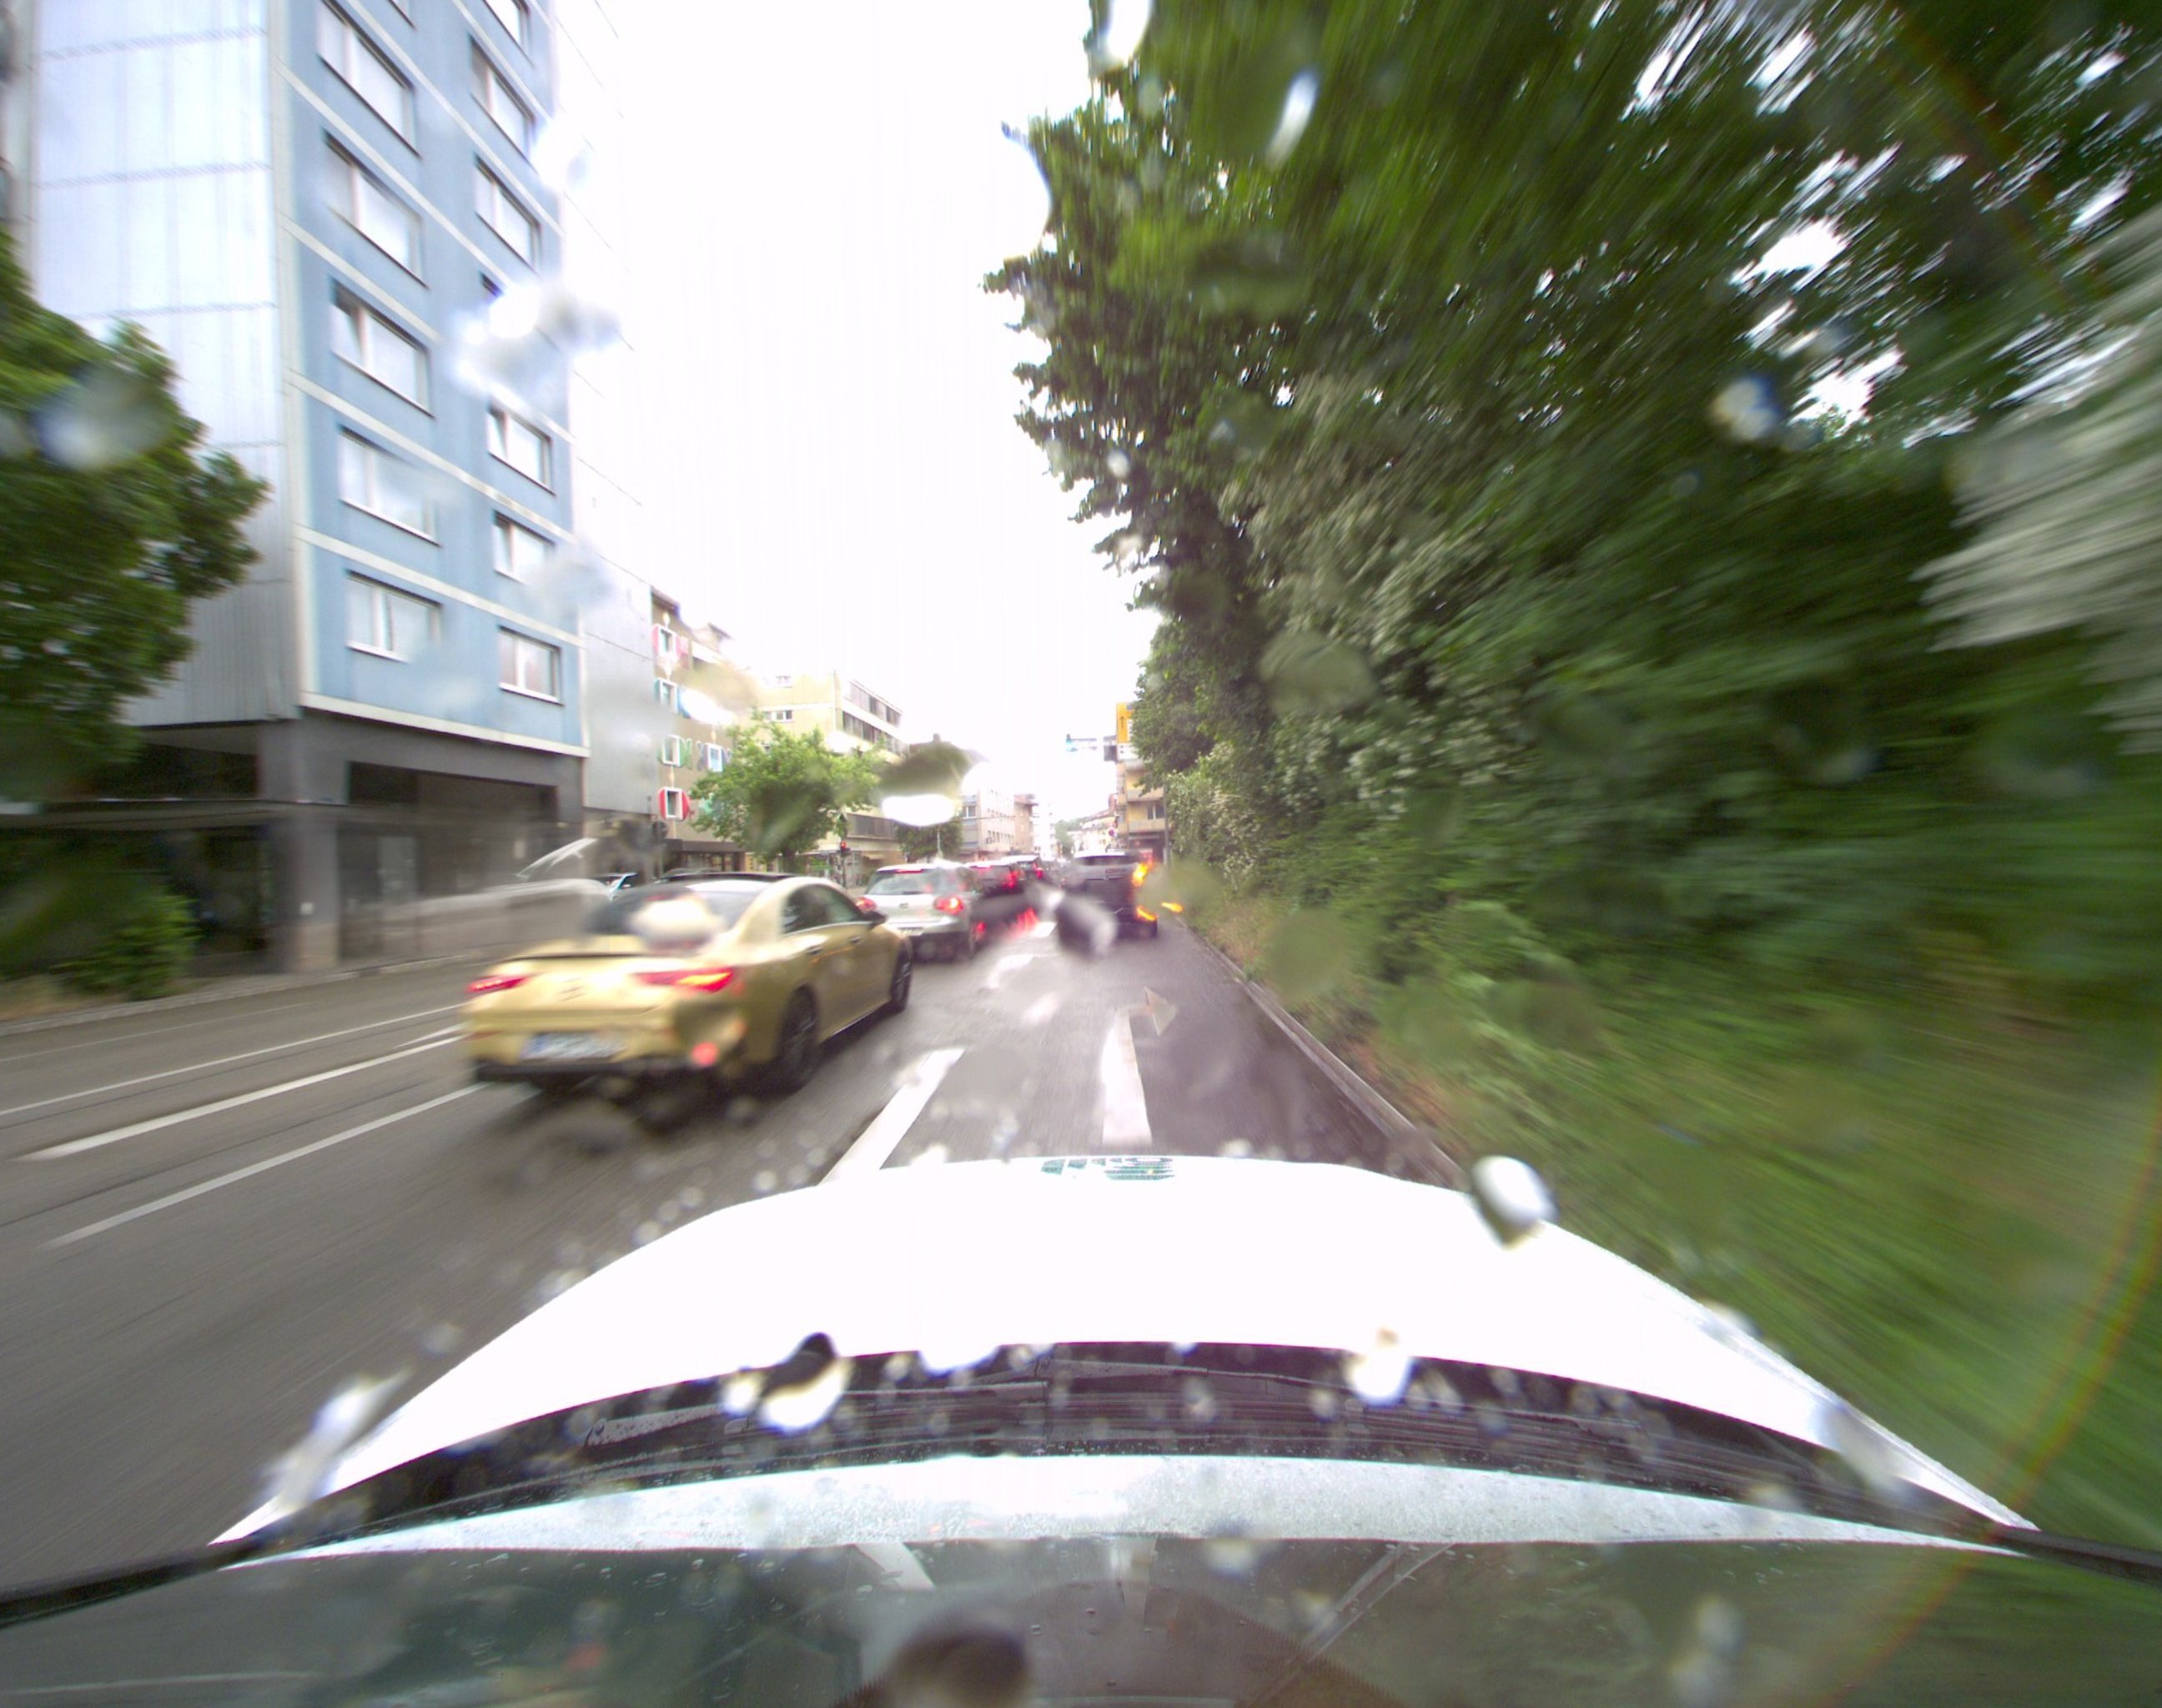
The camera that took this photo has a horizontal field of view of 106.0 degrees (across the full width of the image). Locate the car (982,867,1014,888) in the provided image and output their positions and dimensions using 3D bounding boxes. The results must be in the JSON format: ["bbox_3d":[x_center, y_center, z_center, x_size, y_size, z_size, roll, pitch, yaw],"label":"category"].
[{"bbox_3d":[-7.355,2.050,72.461,1.985,1.494,4.093,-6,0,4],"label":"car"}]

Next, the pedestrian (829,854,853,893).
[{"bbox_3d":[-13.000,1.052,44.146,0.939,2.013,0.884,-4,0,-8],"label":"pedestrian"}]

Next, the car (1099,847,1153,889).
[{"bbox_3d":[2.468,0.718,43.756,1.979,2.013,4.016,-3,0,15],"label":"car"}]

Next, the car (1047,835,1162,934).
[{"bbox_3d":[0.431,0.529,16.193,1.953,1.653,4.000,-2,0,1],"label":"car"}]

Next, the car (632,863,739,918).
[{"bbox_3d":[-13.874,1.227,28.859,1.533,1.706,4.289,-2,0,2],"label":"car"}]

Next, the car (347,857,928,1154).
[{"bbox_3d":[-2.833,0.834,6.690,2.058,1.464,4.589,-3,0,2],"label":"car"}]

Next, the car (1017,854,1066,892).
[{"bbox_3d":[-1.665,0.778,35.425,1.760,1.444,4.002,-3,0,2],"label":"car"}]

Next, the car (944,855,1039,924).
[{"bbox_3d":[-2.138,0.816,20.455,1.749,1.453,4.002,-3,0,2],"label":"car"}]

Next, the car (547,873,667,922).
[{"bbox_3d":[-18.614,1.658,32.258,1.986,1.655,4.512,-3,0,1],"label":"car"}]

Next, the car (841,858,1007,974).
[{"bbox_3d":[-2.362,0.866,13.351,1.737,1.487,4.163,-3,0,1],"label":"car"}]

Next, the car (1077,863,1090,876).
[{"bbox_3d":[0.522,2.790,146.504,1.985,2.013,4.003,-5,0,3],"label":"car"}]

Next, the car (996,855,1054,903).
[{"bbox_3d":[-1.844,0.795,27.841,1.607,1.420,3.967,-2,0,1],"label":"car"}]
